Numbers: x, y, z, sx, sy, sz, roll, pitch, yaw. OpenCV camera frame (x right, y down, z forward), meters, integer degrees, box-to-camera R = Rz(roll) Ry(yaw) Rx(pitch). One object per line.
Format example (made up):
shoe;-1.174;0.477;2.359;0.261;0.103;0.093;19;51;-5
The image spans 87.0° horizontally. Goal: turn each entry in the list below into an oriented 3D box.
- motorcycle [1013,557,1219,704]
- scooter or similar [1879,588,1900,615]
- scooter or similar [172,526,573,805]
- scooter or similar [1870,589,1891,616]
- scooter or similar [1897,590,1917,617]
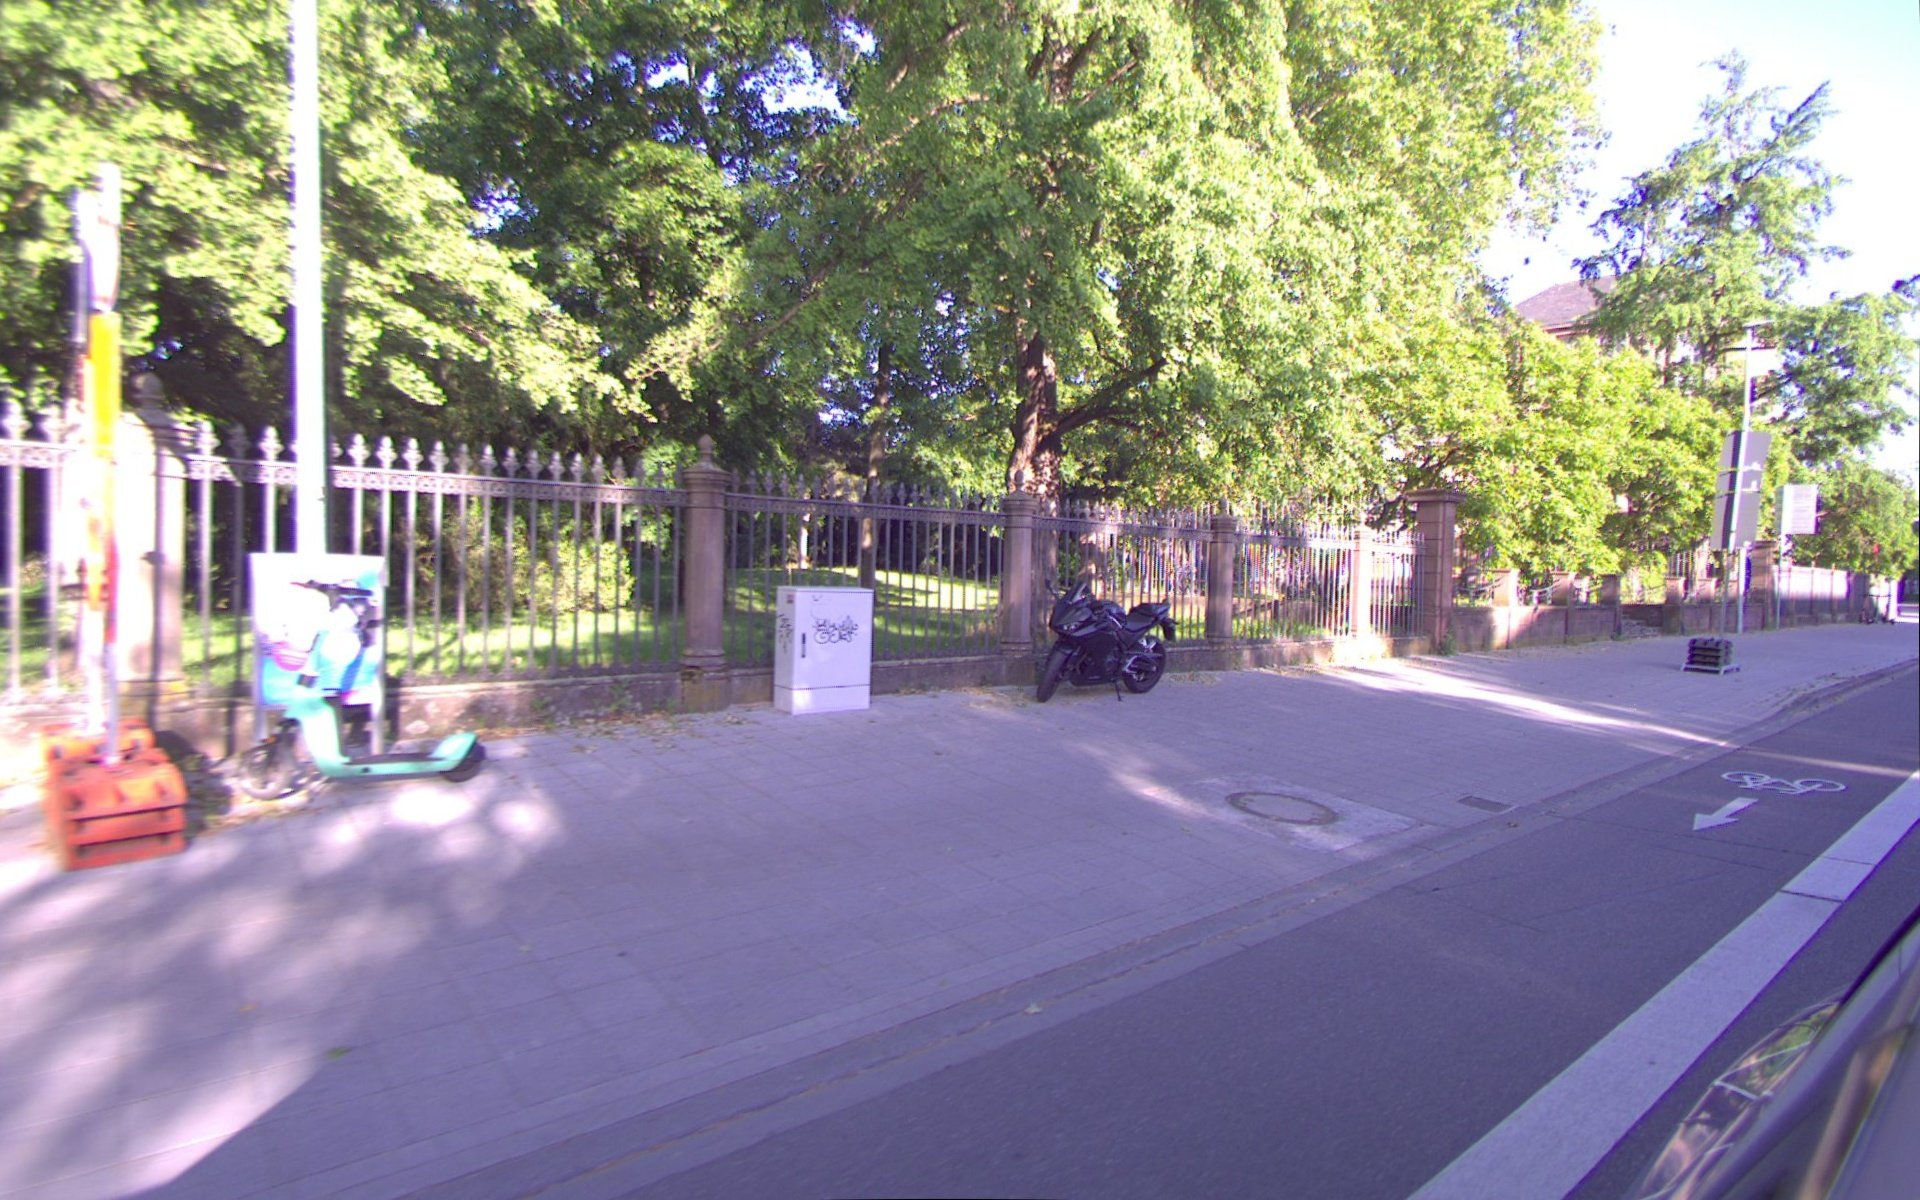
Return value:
motorcycle;1.572;0.250;10.031;2.002;1.309;0.906;0;3;-40
scooter or similar;38.088;0.060;41.482;1.747;1.054;0.416;-1;0;-40
scooter or similar;-3.210;0.282;5.607;1.804;1.269;0.794;0;6;-40
scooter or similar;36.410;0.084;40.021;1.747;1.054;0.416;-1;0;-40
scooter or similar;38.411;0.146;41.042;1.747;1.054;0.416;-1;0;-40
